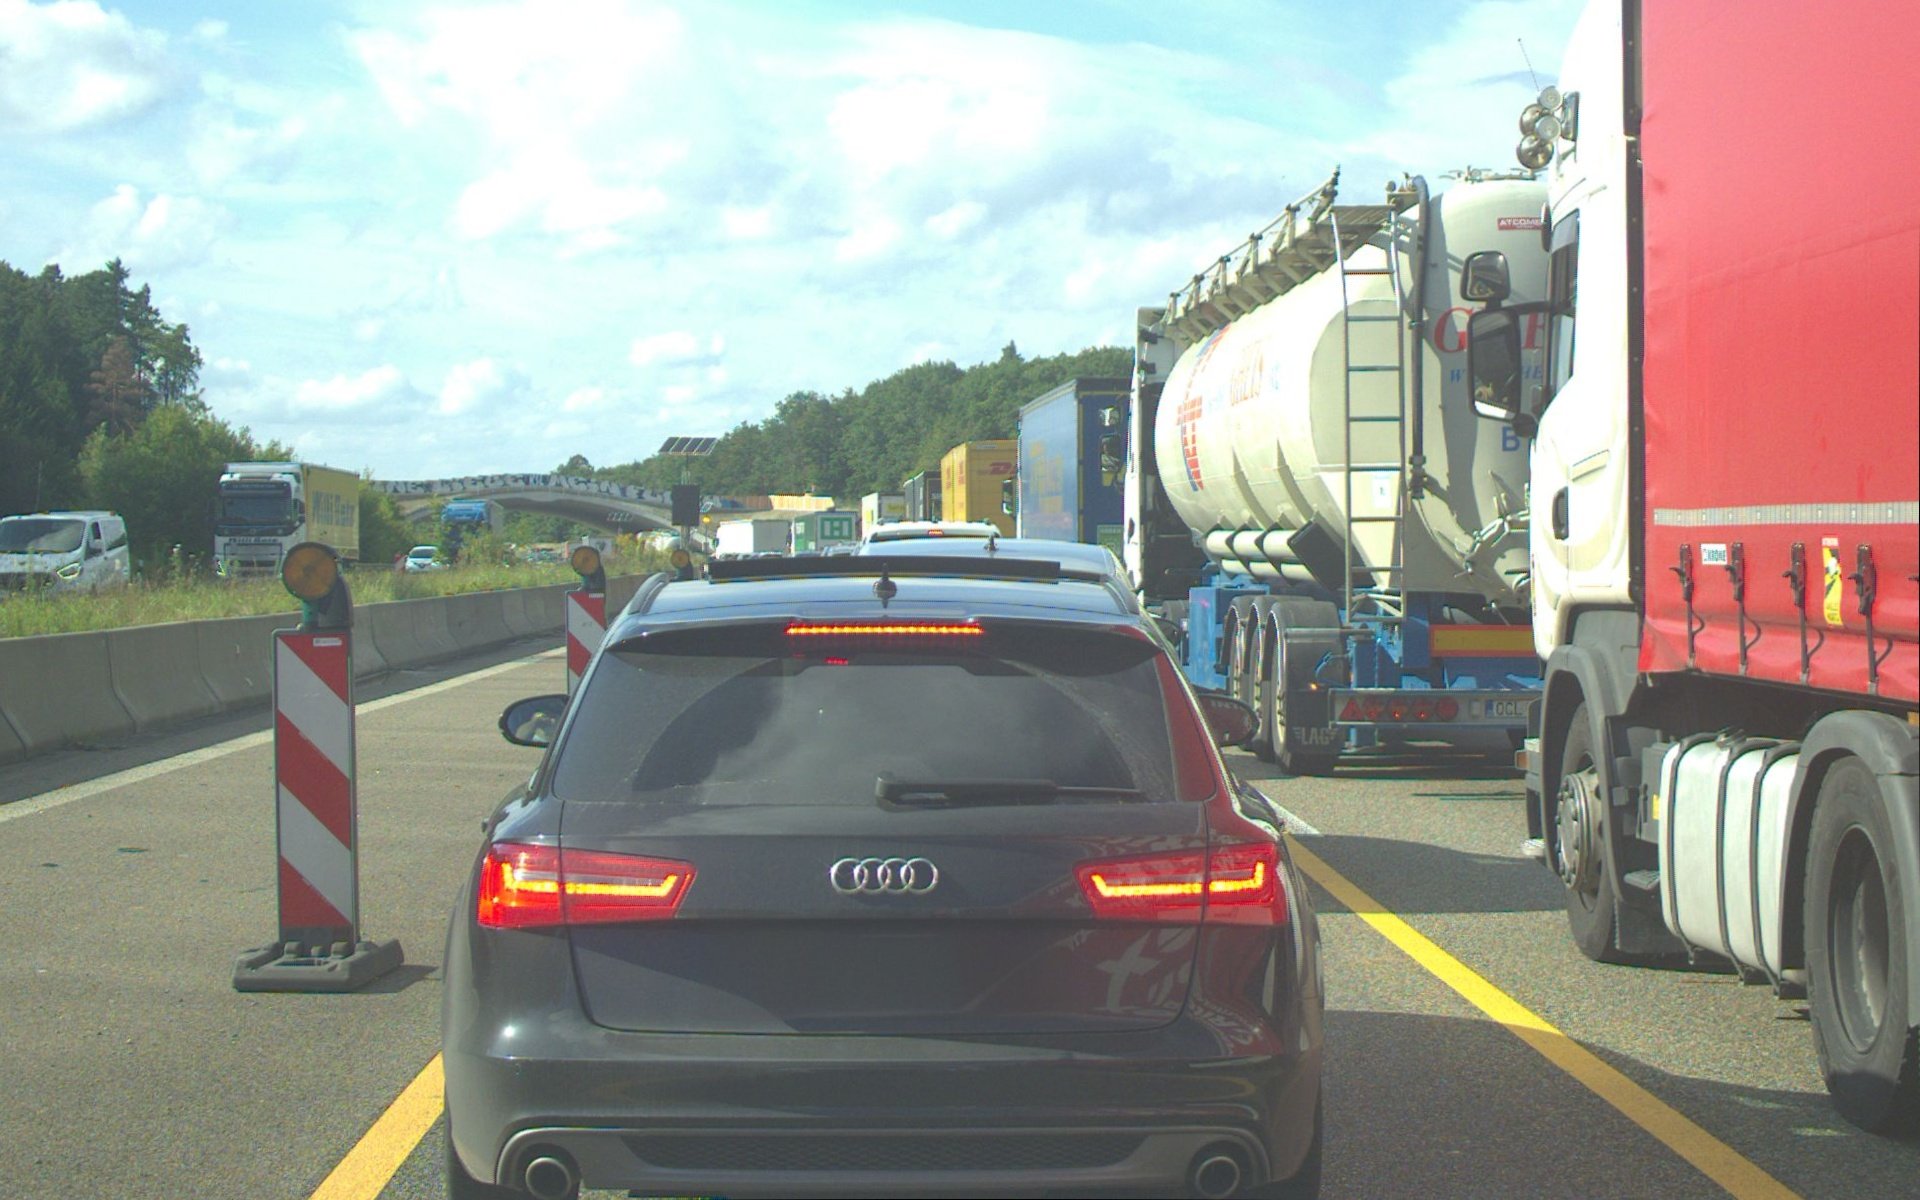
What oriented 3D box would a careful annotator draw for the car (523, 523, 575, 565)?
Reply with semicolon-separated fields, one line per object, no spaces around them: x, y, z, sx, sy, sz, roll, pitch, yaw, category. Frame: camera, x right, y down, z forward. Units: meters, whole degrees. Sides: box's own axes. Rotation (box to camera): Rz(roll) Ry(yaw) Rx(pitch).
-19.373;-2.626;162.093;1.993;1.941;4.000;1;0;0;car

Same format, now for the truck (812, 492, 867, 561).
-7.460;-4.505;212.224;3.304;4.160;9.703;0;1;-2;truck

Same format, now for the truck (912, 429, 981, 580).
-0.511;-3.194;117.103;1.993;4.897;9.563;1;1;-2;truck

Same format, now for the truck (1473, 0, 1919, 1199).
3.483;-0.574;10.914;2.667;3.946;5.711;1;1;-1;truck

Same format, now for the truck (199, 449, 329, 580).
-21.416;-2.582;106.055;2.826;3.895;5.949;1;0;-1;truck

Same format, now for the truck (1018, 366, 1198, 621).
2.613;-1.869;63.127;2.806;4.354;7.792;1;0;-1;truck

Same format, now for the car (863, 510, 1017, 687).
-0.222;-0.031;37.473;1.581;1.830;3.112;1;0;-1;car

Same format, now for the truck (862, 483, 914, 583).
-3.137;-2.884;150.357;2.137;4.243;7.072;1;0;-1;truck

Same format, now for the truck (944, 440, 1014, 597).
0.464;-2.035;87.300;1.609;3.883;4.072;1;0;-1;truck

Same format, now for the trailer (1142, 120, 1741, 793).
3.174;-0.937;26.594;2.644;3.929;12.598;1;1;-1;trailer

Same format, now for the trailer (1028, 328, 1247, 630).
2.710;-1.824;55.677;2.805;4.398;10.433;1;0;-1;trailer

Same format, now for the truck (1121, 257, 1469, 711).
3.090;-1.046;33.182;2.659;3.958;5.779;1;0;-1;truck

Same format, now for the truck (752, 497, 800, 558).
-13.090;-5.133;244.061;3.303;4.160;9.704;1;1;-4;truck

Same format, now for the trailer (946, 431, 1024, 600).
0.561;-2.000;83.336;1.616;3.905;6.490;1;0;-1;trailer

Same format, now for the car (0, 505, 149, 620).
-16.361;-0.682;62.783;1.993;2.007;4.832;1;0;-1;car

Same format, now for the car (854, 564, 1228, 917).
0.317;0.566;15.838;1.524;1.434;3.285;1;0;-1;car

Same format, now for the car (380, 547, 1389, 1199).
-0.161;0.619;8.322;1.848;1.458;4.000;0;0;-1;car

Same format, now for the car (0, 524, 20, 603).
-25.495;-0.946;87.594;1.993;2.007;4.000;1;0;-1;car

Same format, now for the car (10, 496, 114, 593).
-25.412;-1.552;97.450;2.250;2.634;5.021;1;0;-8;car

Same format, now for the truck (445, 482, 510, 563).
-25.250;-4.040;180.150;2.637;4.175;5.468;1;1;-1;truck

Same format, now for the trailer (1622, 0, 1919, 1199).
3.638;-0.480;4.287;2.699;3.955;13.418;1;1;-1;trailer

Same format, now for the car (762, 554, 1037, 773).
-0.409;0.394;24.003;1.751;1.392;3.608;1;0;-1;car
